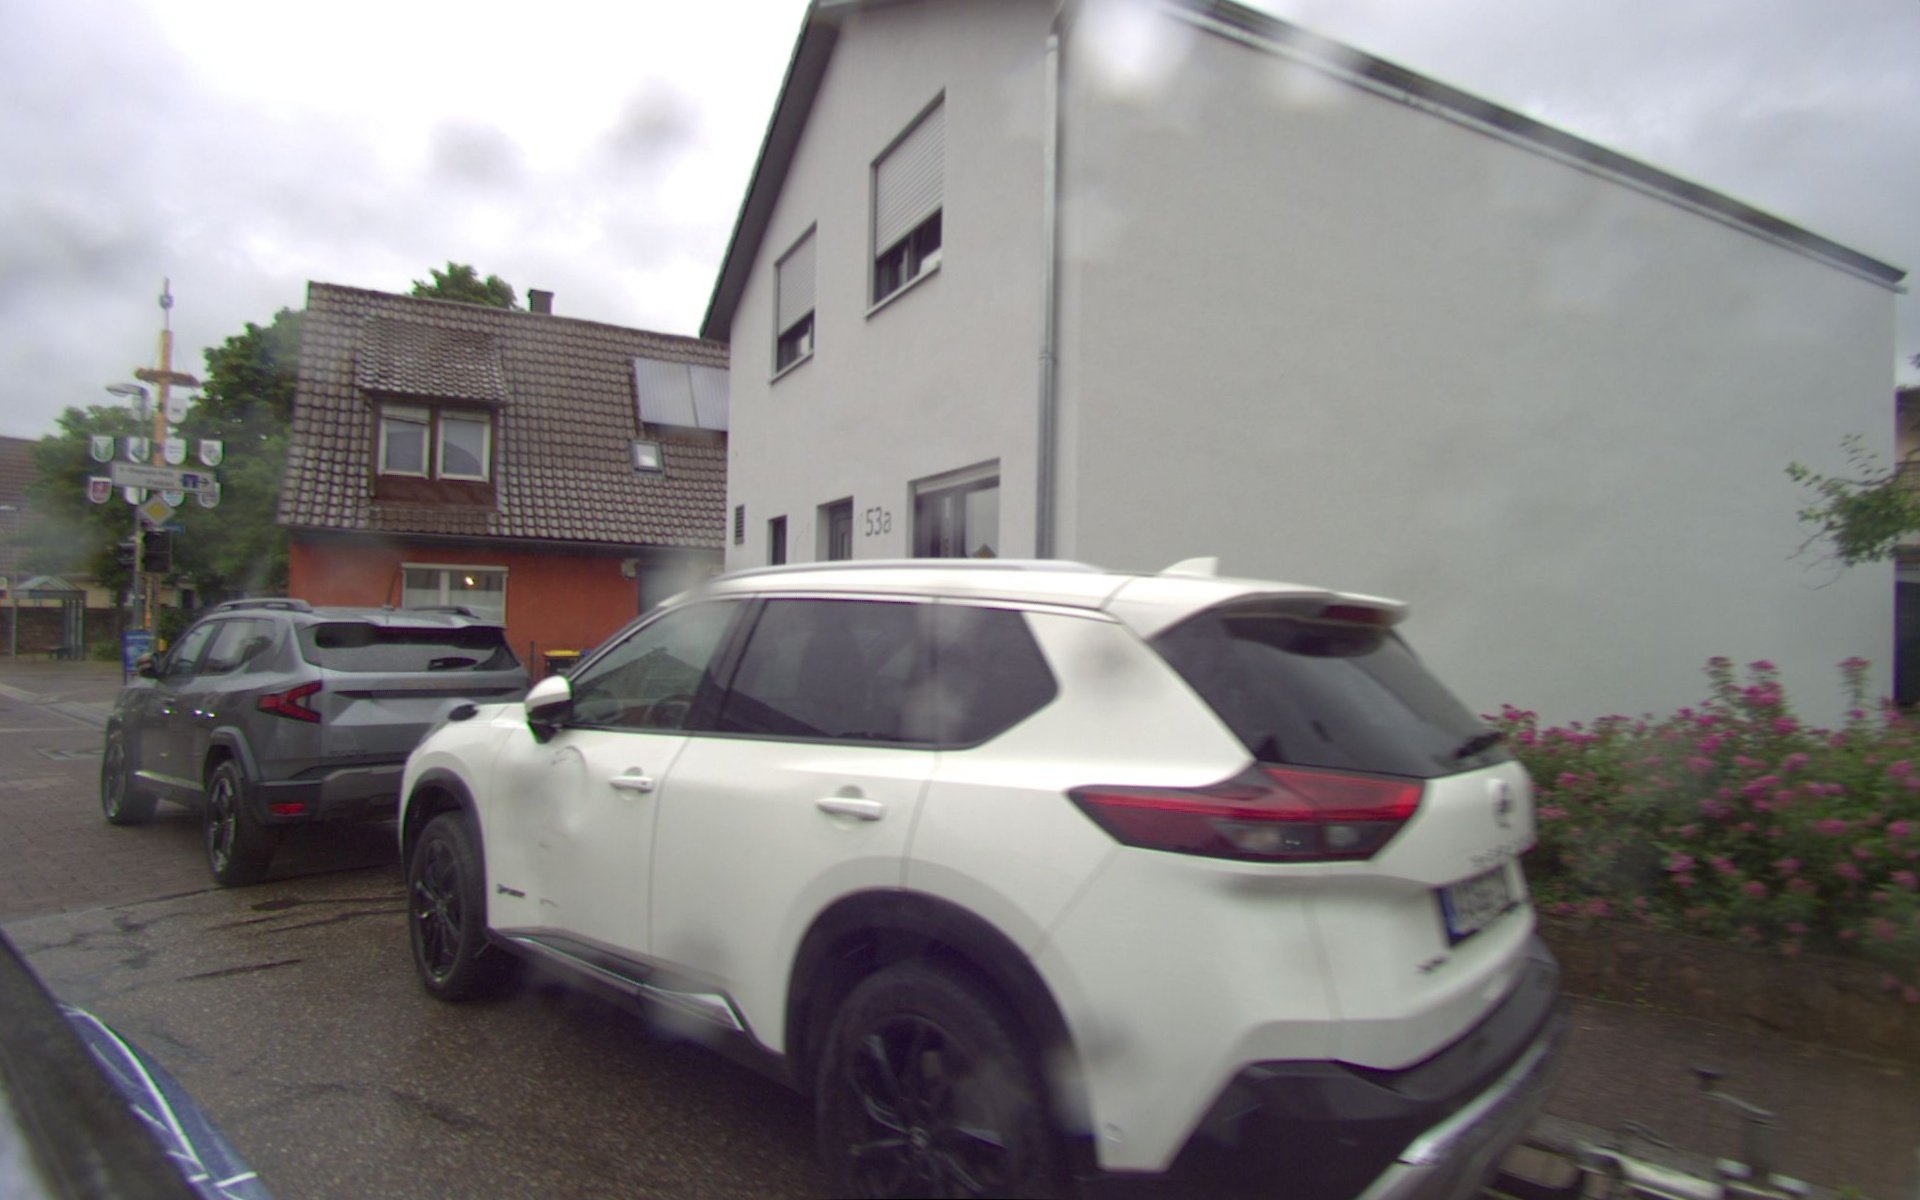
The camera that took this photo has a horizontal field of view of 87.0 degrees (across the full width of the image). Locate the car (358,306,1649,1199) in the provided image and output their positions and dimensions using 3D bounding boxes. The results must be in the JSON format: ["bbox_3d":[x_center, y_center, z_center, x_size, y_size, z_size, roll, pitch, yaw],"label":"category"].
[{"bbox_3d":[-0.358,0.419,3.565,4.417,1.649,1.730,1,-2,42],"label":"car"}]

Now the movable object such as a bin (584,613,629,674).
[{"bbox_3d":[-6.301,0.760,18.028,0.637,1.064,0.622,1,-2,-33],"label":"movable object such as a bin"}]

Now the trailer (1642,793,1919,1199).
[{"bbox_3d":[2.459,0.903,1.148,2.674,0.835,1.468,1,-2,40],"label":"trailer"}]

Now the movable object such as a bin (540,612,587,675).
[{"bbox_3d":[-6.915,0.747,17.645,0.637,1.064,0.622,2,-1,-32],"label":"movable object such as a bin"}]

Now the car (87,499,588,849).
[{"bbox_3d":[-4.541,0.420,7.165,4.013,1.793,1.794,-1,-2,39],"label":"car"}]

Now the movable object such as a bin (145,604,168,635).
[{"bbox_3d":[-30.743,0.755,38.731,0.604,1.155,0.556,2,0,38],"label":"movable object such as a bin"}]

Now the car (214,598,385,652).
[{"bbox_3d":[-20.667,0.758,31.902,4.384,1.561,1.888,-1,0,-29],"label":"car"}]
